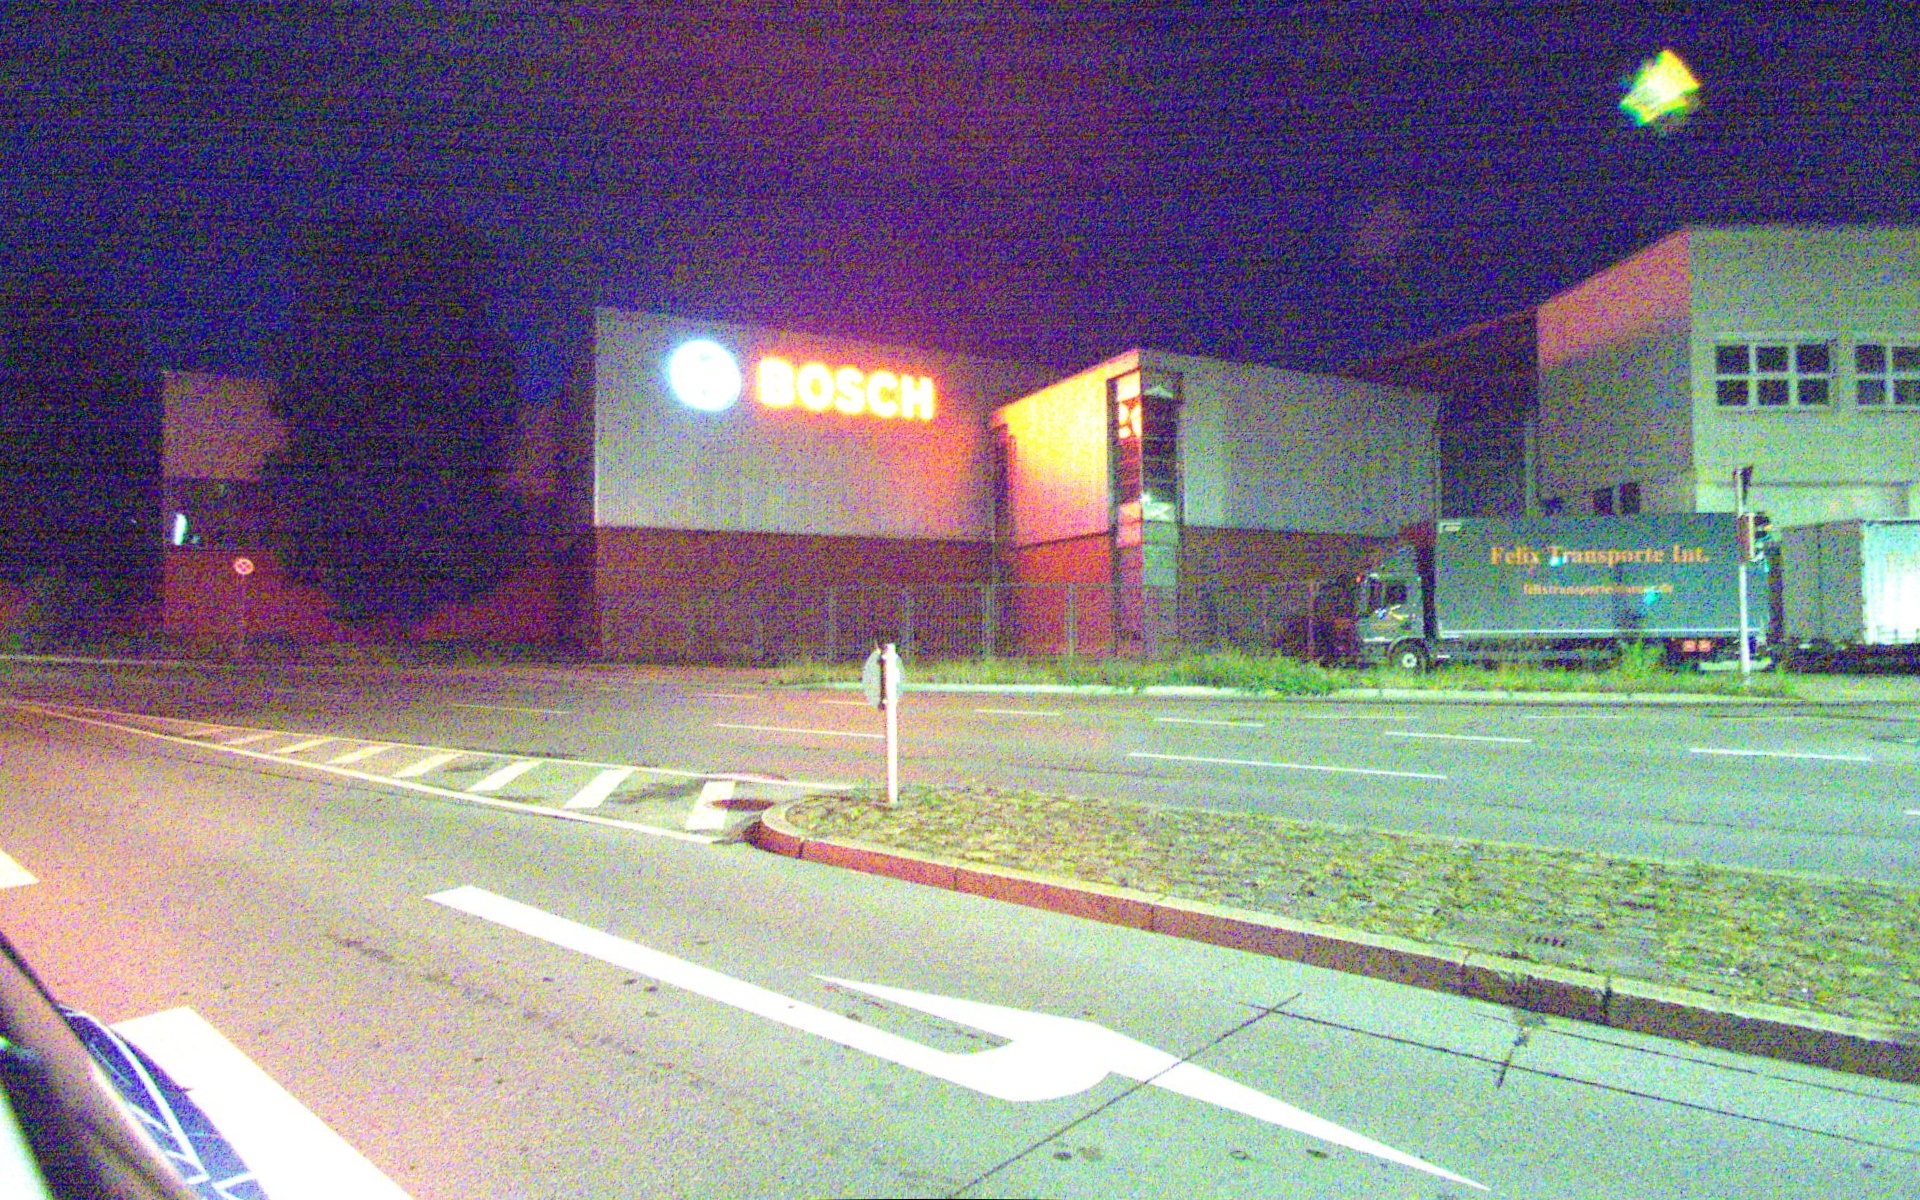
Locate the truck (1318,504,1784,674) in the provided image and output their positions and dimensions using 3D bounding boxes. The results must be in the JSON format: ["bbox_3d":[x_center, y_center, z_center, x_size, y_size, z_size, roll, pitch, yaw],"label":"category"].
[{"bbox_3d":[14.031,-0.252,24.824,9.439,3.825,2.942,0,-1,6],"label":"truck"}]

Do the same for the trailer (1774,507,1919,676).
[{"bbox_3d":[23.712,-0.173,24.022,6.430,3.819,2.619,0,-1,4],"label":"trailer"}]
